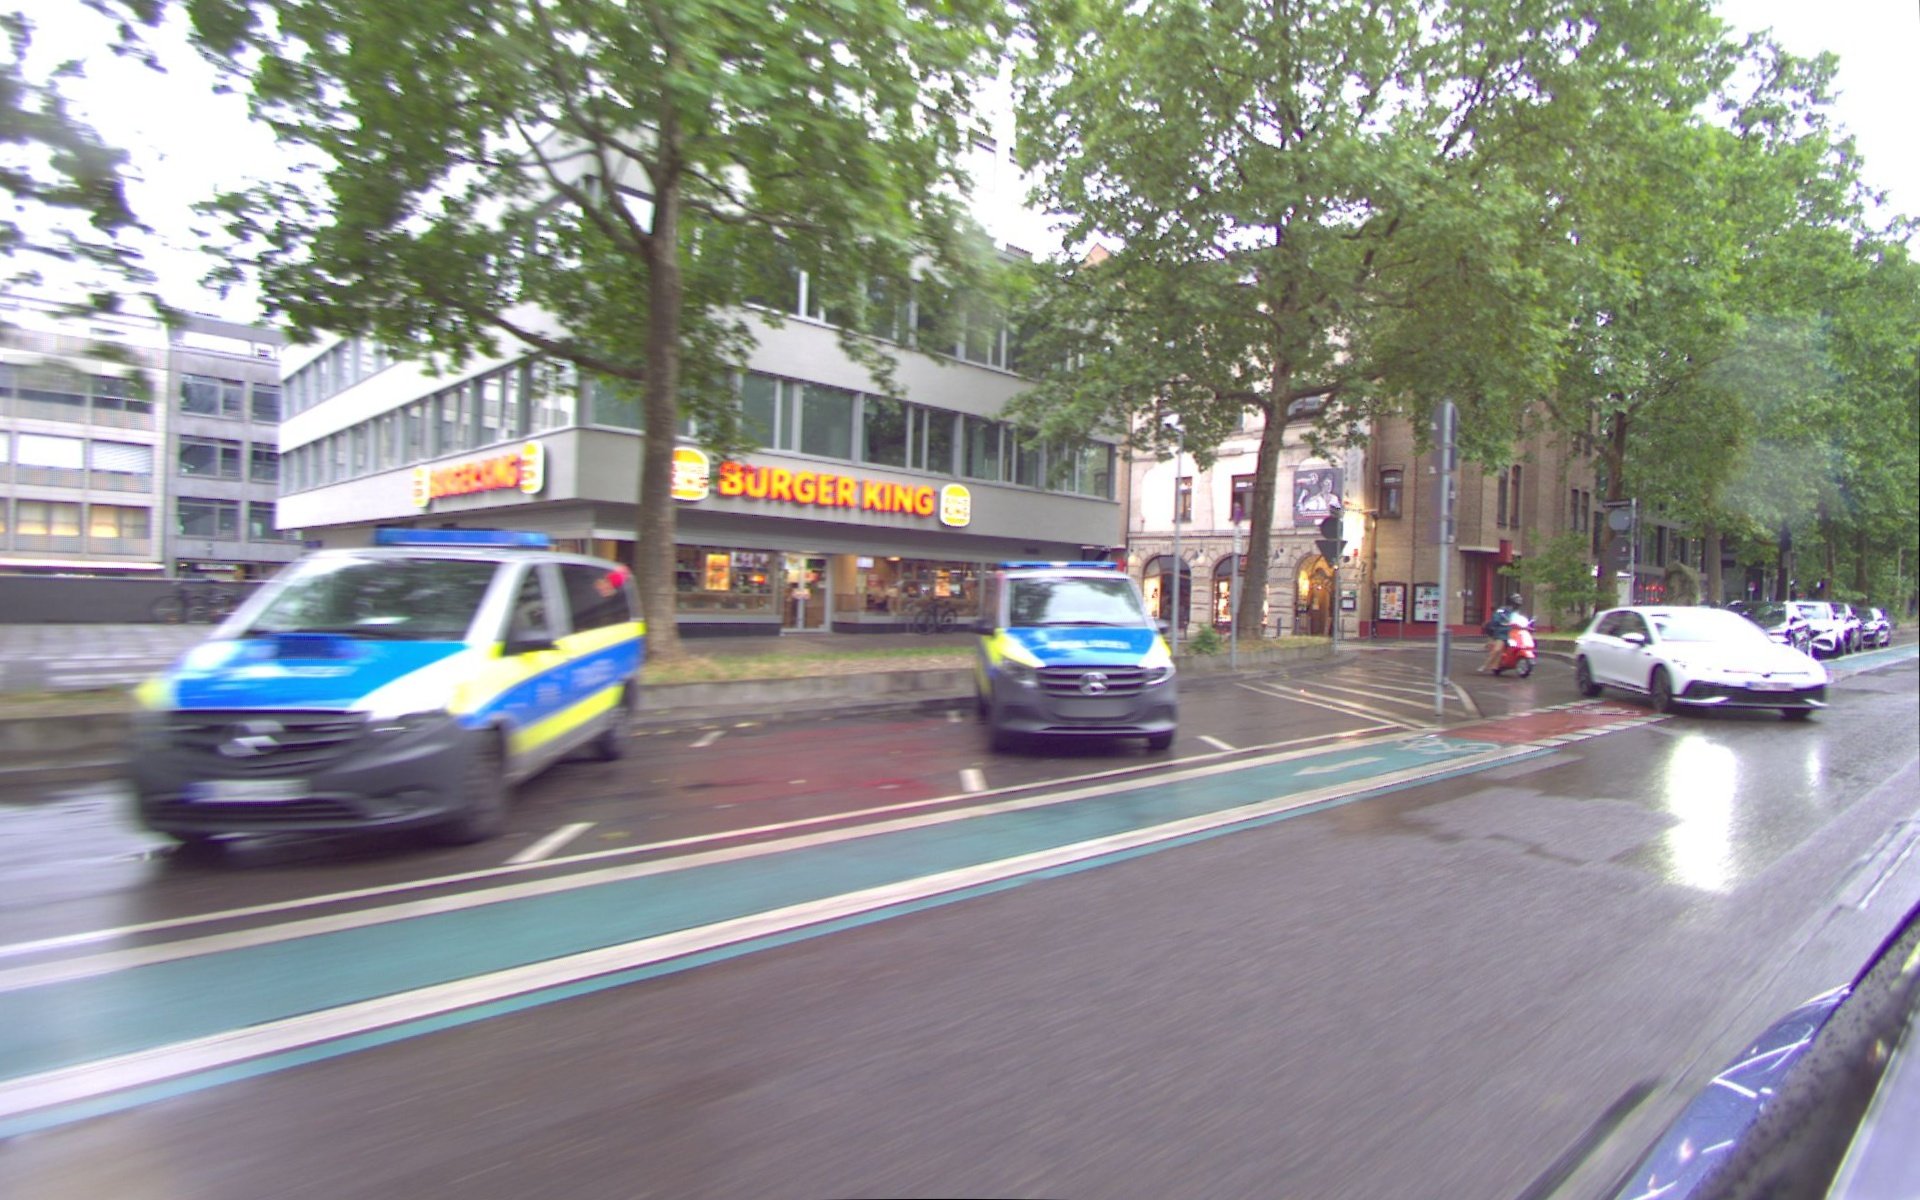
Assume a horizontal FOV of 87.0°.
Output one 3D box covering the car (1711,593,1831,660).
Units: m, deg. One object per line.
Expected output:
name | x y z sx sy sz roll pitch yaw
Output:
car | 21.413 0.648 26.669 4.348 1.623 1.795 0 0 -42

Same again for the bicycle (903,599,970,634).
bicycle | -0.656 0.477 29.176 0.583 0.906 2.043 9 5 44

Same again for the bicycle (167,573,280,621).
bicycle | -18.647 -0.076 25.661 2.249 1.188 0.687 0 0 -44

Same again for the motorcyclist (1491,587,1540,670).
motorcyclist | 11.379 0.563 20.715 0.842 1.665 0.862 0 0 32

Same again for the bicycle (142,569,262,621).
bicycle | -18.039 -0.126 24.123 2.247 1.187 0.687 0 1 -41

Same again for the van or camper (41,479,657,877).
van or camper | -3.912 0.407 7.799 1.957 2.045 5.092 0 0 -4

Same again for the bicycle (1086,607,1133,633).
bicycle | 5.759 0.745 39.034 0.613 0.949 1.972 0 0 -36

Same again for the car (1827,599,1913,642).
car | 33.099 0.699 36.757 4.505 1.451 1.746 0 0 -40

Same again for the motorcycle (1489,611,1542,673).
motorcycle | 11.383 0.831 20.705 0.862 1.157 1.999 0 0 32

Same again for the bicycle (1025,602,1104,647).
bicycle | 2.646 0.631 25.522 1.877 0.930 0.646 2 16 -36

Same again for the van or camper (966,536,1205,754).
van or camper | 1.184 0.403 11.851 1.963 2.017 4.950 0 0 -3

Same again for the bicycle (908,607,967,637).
bicycle | -0.649 0.640 29.722 0.640 0.829 1.885 1 1 41

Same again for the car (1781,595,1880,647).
car | 28.727 0.638 33.344 4.483 1.609 1.996 0 0 -43

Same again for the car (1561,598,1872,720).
car | 10.737 0.725 14.861 1.838 1.463 4.495 0 0 11

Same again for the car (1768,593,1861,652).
car | 25.207 0.607 29.796 1.752 1.605 4.339 0 0 45
